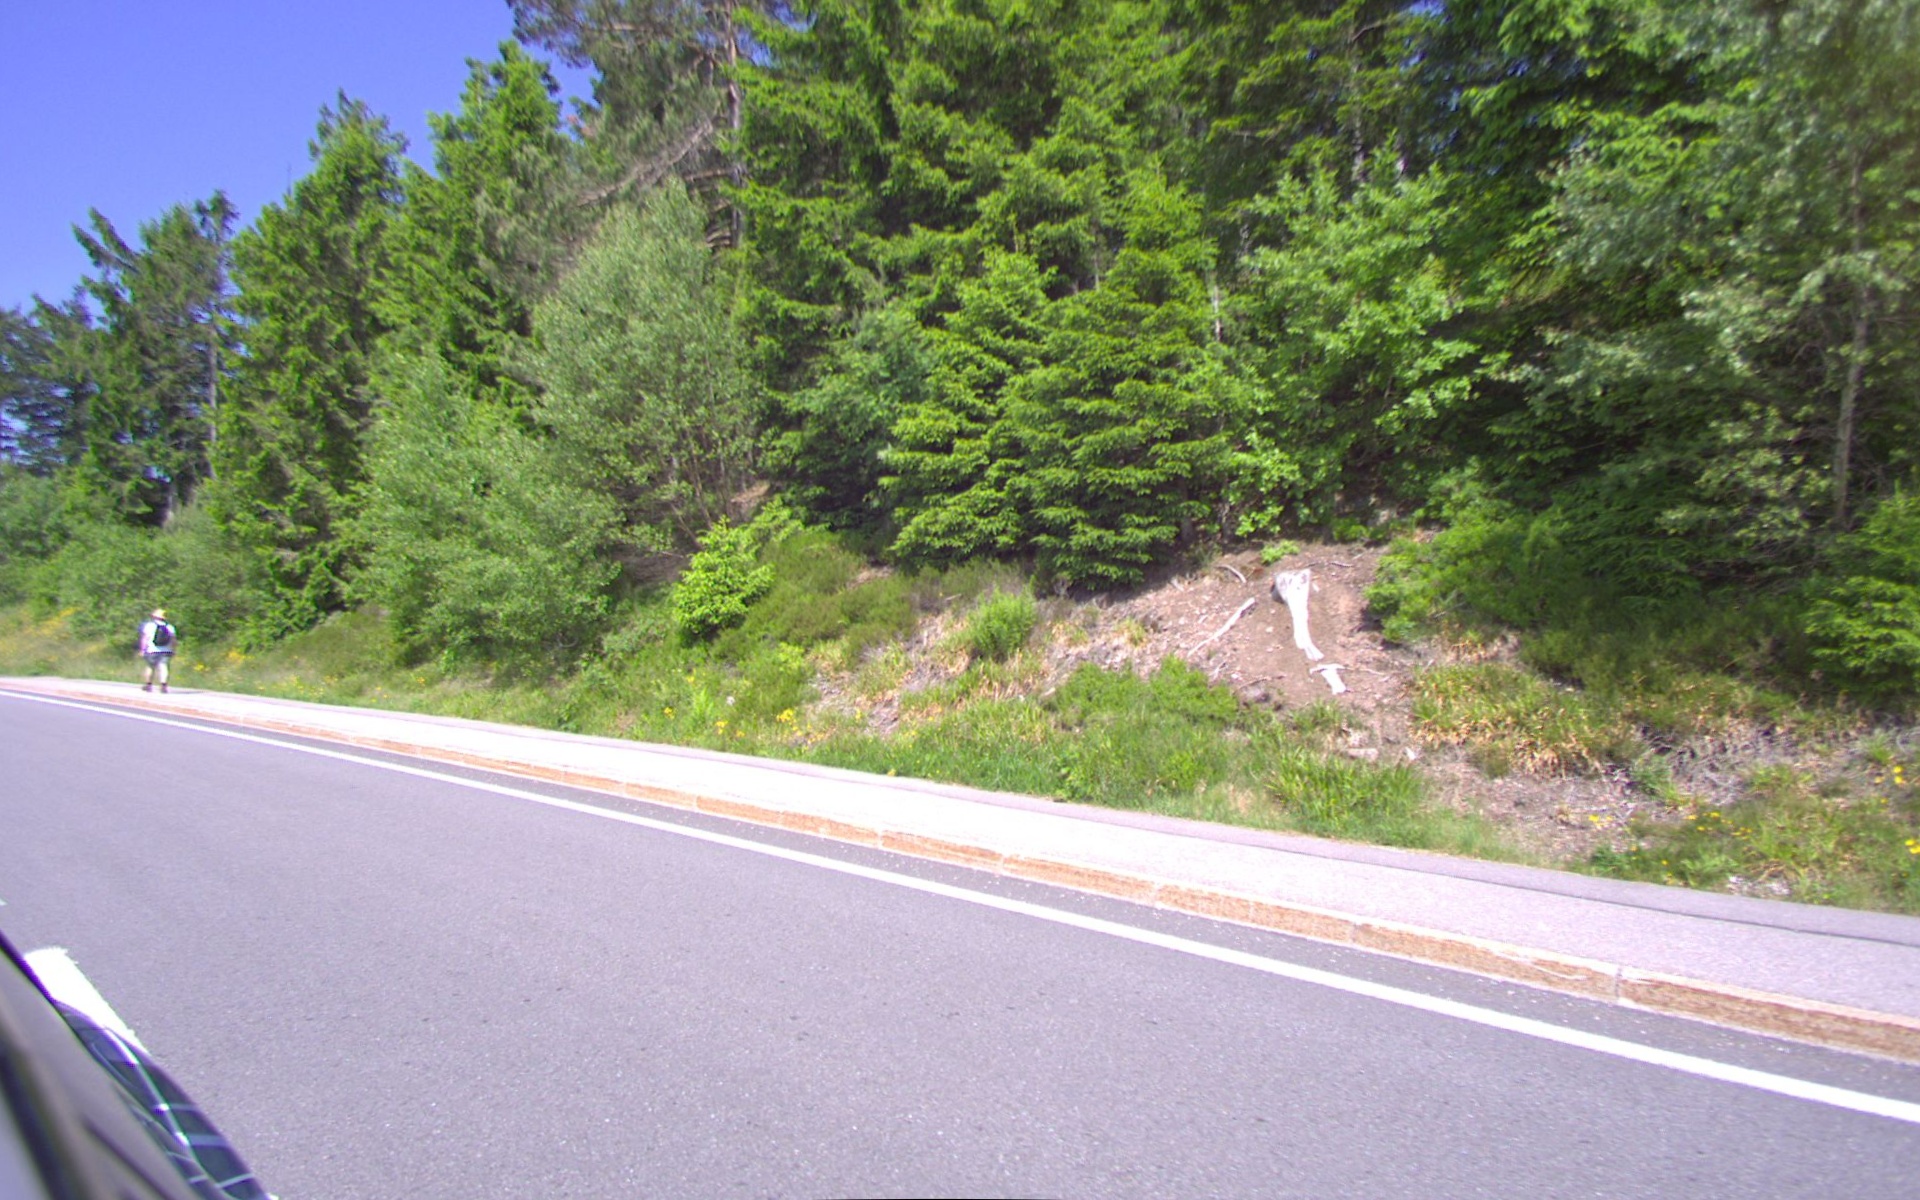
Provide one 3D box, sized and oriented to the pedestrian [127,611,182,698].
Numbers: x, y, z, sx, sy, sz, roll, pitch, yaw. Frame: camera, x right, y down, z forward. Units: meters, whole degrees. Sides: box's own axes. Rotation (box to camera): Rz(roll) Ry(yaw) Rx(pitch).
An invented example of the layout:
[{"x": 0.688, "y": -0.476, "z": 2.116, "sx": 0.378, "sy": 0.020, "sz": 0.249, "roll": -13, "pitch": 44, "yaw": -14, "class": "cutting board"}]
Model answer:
[{"x": -16.722, "y": 1.124, "z": 21.010, "sx": 0.823, "sy": 1.759, "sz": 0.677, "roll": -2, "pitch": -1, "yaw": 34, "class": "pedestrian"}]
